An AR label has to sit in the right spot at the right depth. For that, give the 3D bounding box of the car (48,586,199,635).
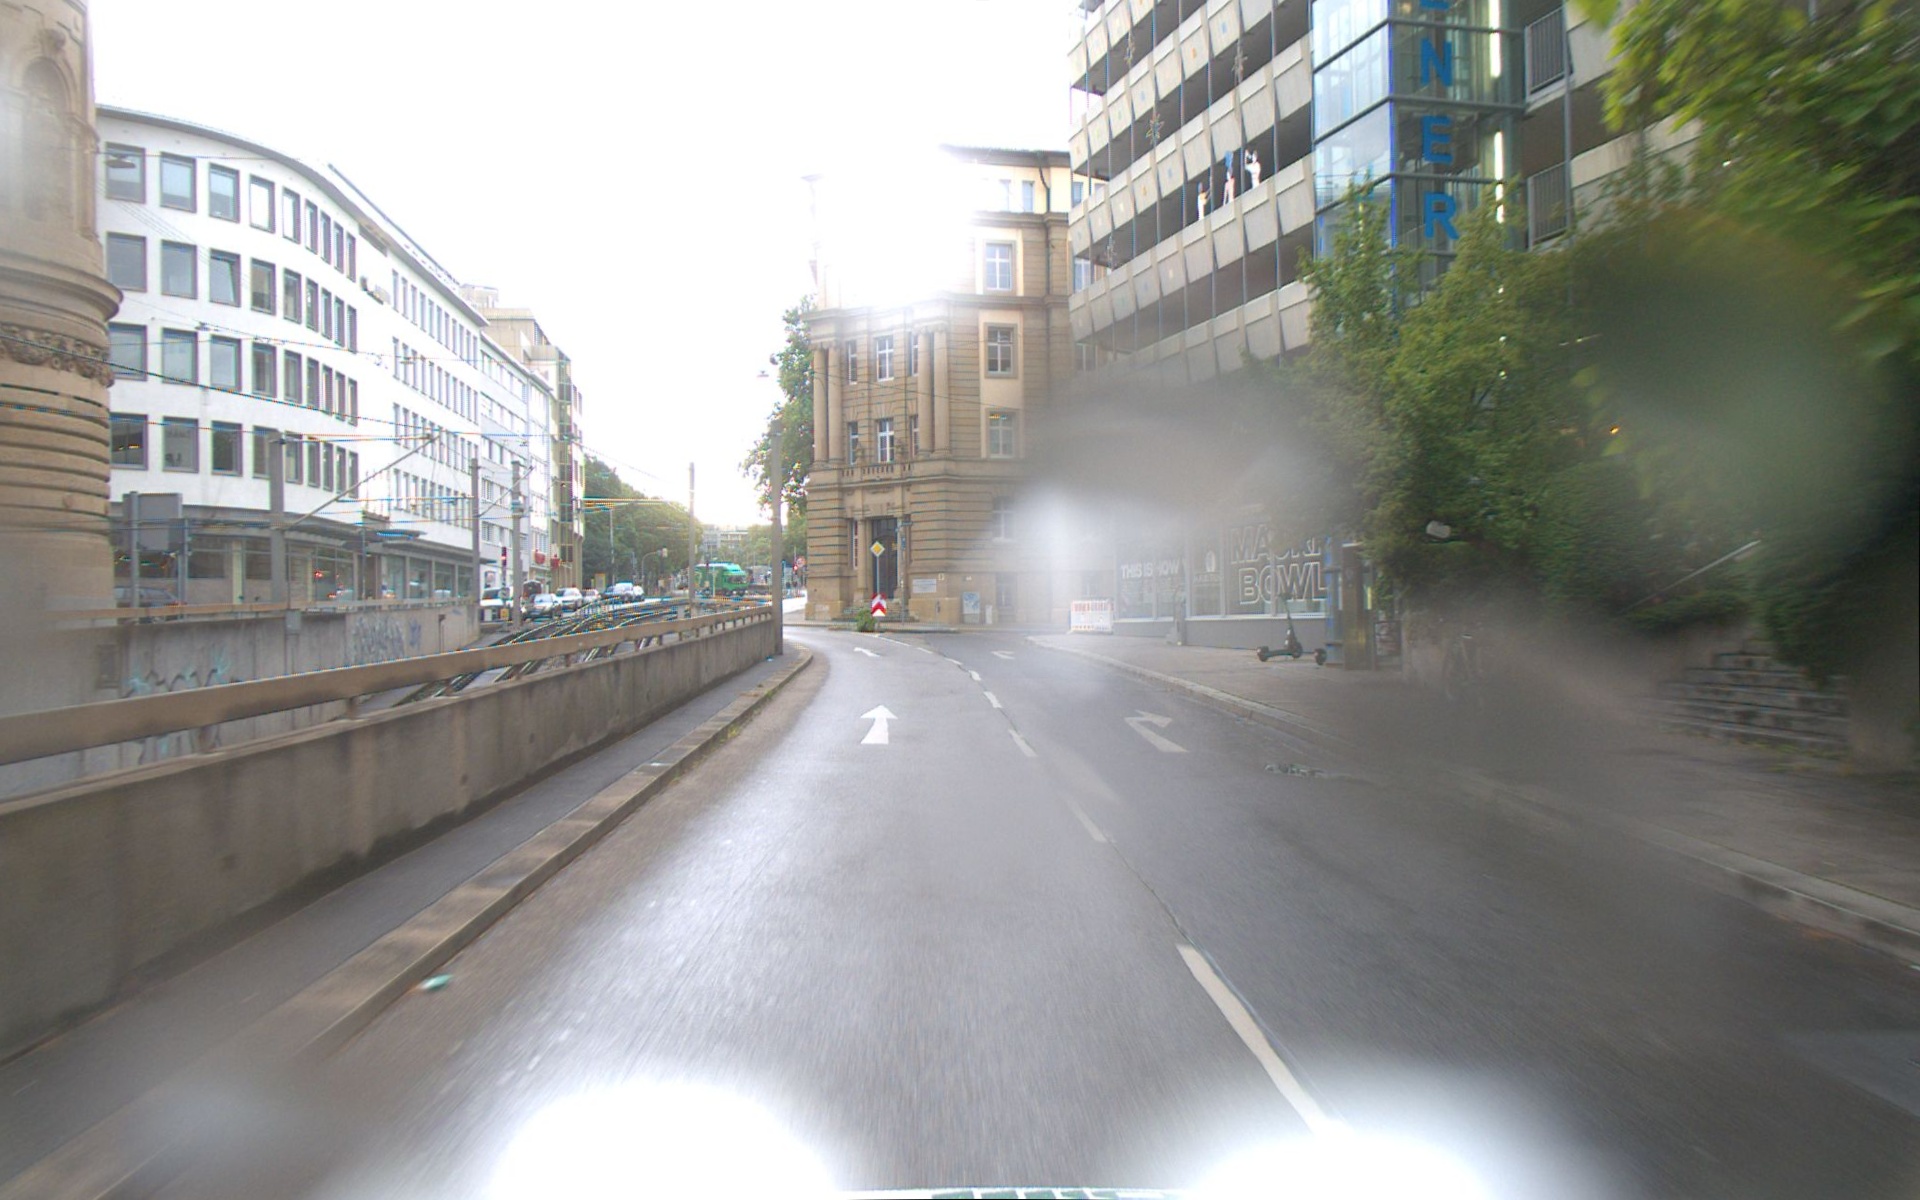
[{"bbox_3d":[-31.138,0.387,61.673,4.741,1.548,1.650,-4,1,-42],"label":"car"}]

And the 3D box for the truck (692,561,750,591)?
[{"bbox_3d":[-28.633,-2.843,197.765,7.775,3.446,1.991,2,0,38],"label":"truck"}]

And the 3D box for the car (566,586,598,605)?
[{"bbox_3d":[-29.401,-0.344,128.843,1.955,1.482,4.305,0,0,-6],"label":"car"}]

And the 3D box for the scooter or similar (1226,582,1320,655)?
[{"bbox_3d":[5.964,0.340,31.504,1.615,1.290,0.737,-3,1,-27],"label":"scooter or similar"}]

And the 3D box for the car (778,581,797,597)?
[{"bbox_3d":[-18.404,-1.219,176.452,1.955,1.691,3.995,0,0,-6],"label":"car"}]

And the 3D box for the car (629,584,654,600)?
[{"bbox_3d":[-30.343,-0.761,157.777,1.955,1.482,4.305,0,0,-6],"label":"car"}]

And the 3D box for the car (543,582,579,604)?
[{"bbox_3d":[-28.099,-0.504,116.647,1.955,1.482,4.305,0,0,-6],"label":"car"}]

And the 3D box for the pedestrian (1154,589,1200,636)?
[{"bbox_3d":[5.470,0.306,41.774,0.740,1.142,1.242,0,0,-15],"label":"pedestrian"}]

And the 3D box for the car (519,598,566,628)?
[{"bbox_3d":[-22.604,0.674,89.590,1.955,1.554,3.658,0,0,-6],"label":"car"}]

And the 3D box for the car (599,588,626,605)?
[{"bbox_3d":[-30.500,-0.317,145.285,1.955,1.482,4.305,0,0,-6],"label":"car"}]

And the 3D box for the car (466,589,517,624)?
[{"bbox_3d":[-26.512,0.331,93.779,1.955,1.916,4.920,0,0,-6],"label":"car"}]

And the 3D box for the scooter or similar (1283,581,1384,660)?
[{"bbox_3d":[6.603,0.355,29.228,1.615,1.290,0.737,-3,1,-27],"label":"scooter or similar"}]

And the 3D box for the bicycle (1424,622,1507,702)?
[{"bbox_3d":[6.148,0.735,20.188,0.460,0.900,1.689,-1,0,-1],"label":"bicycle"}]
